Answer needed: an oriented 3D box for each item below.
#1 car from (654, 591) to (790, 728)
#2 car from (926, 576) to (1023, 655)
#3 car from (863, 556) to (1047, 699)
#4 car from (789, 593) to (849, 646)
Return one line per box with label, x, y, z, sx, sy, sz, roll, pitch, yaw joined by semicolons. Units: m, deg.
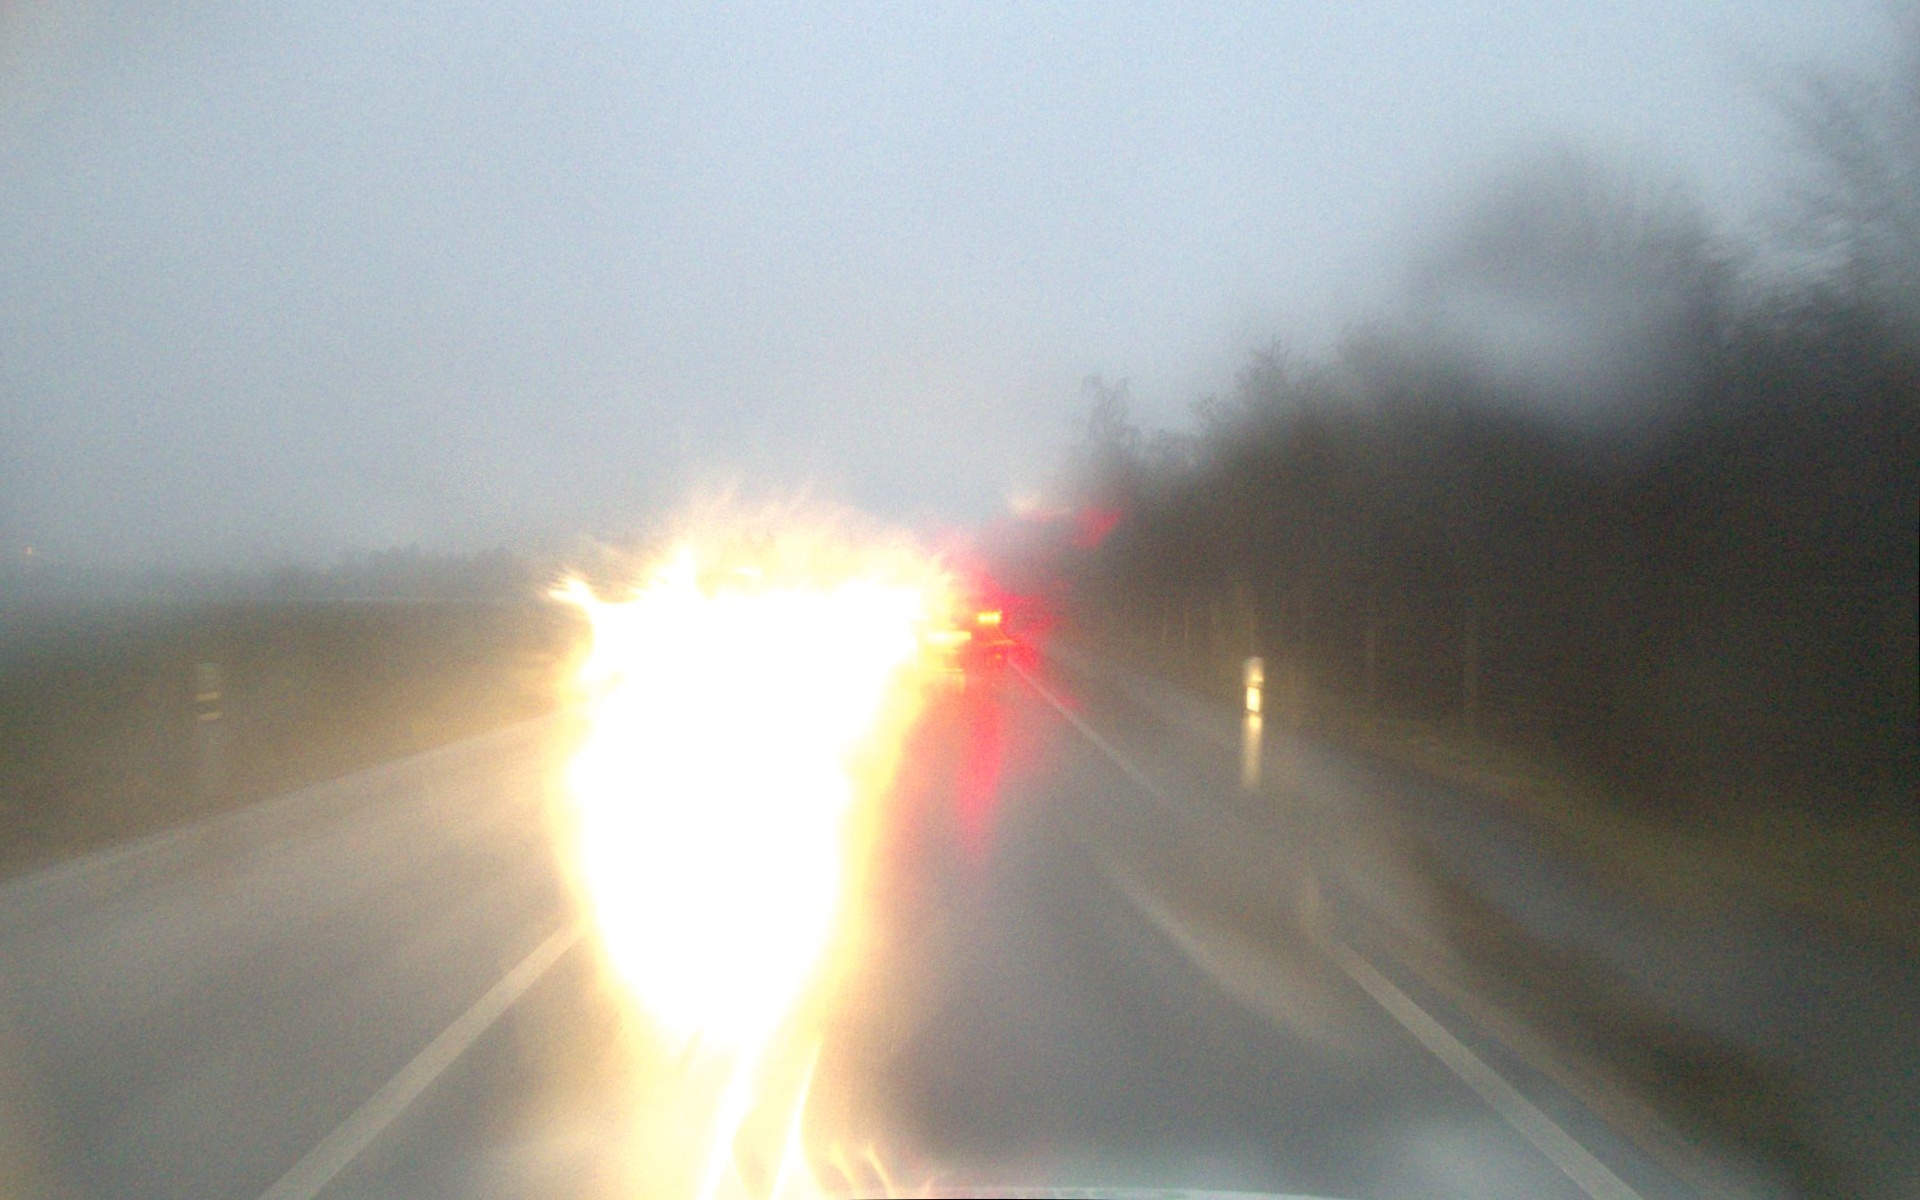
car;-4.007;0.944;28.527;1.876;2.175;4.311;0;0;-2
car;0.406;0.420;47.303;2.539;2.049;5.804;2;0;0
car;-0.074;0.419;28.286;2.762;2.113;5.804;2;0;0
car;-4.890;0.653;57.786;1.876;1.742;4.311;0;0;-2
